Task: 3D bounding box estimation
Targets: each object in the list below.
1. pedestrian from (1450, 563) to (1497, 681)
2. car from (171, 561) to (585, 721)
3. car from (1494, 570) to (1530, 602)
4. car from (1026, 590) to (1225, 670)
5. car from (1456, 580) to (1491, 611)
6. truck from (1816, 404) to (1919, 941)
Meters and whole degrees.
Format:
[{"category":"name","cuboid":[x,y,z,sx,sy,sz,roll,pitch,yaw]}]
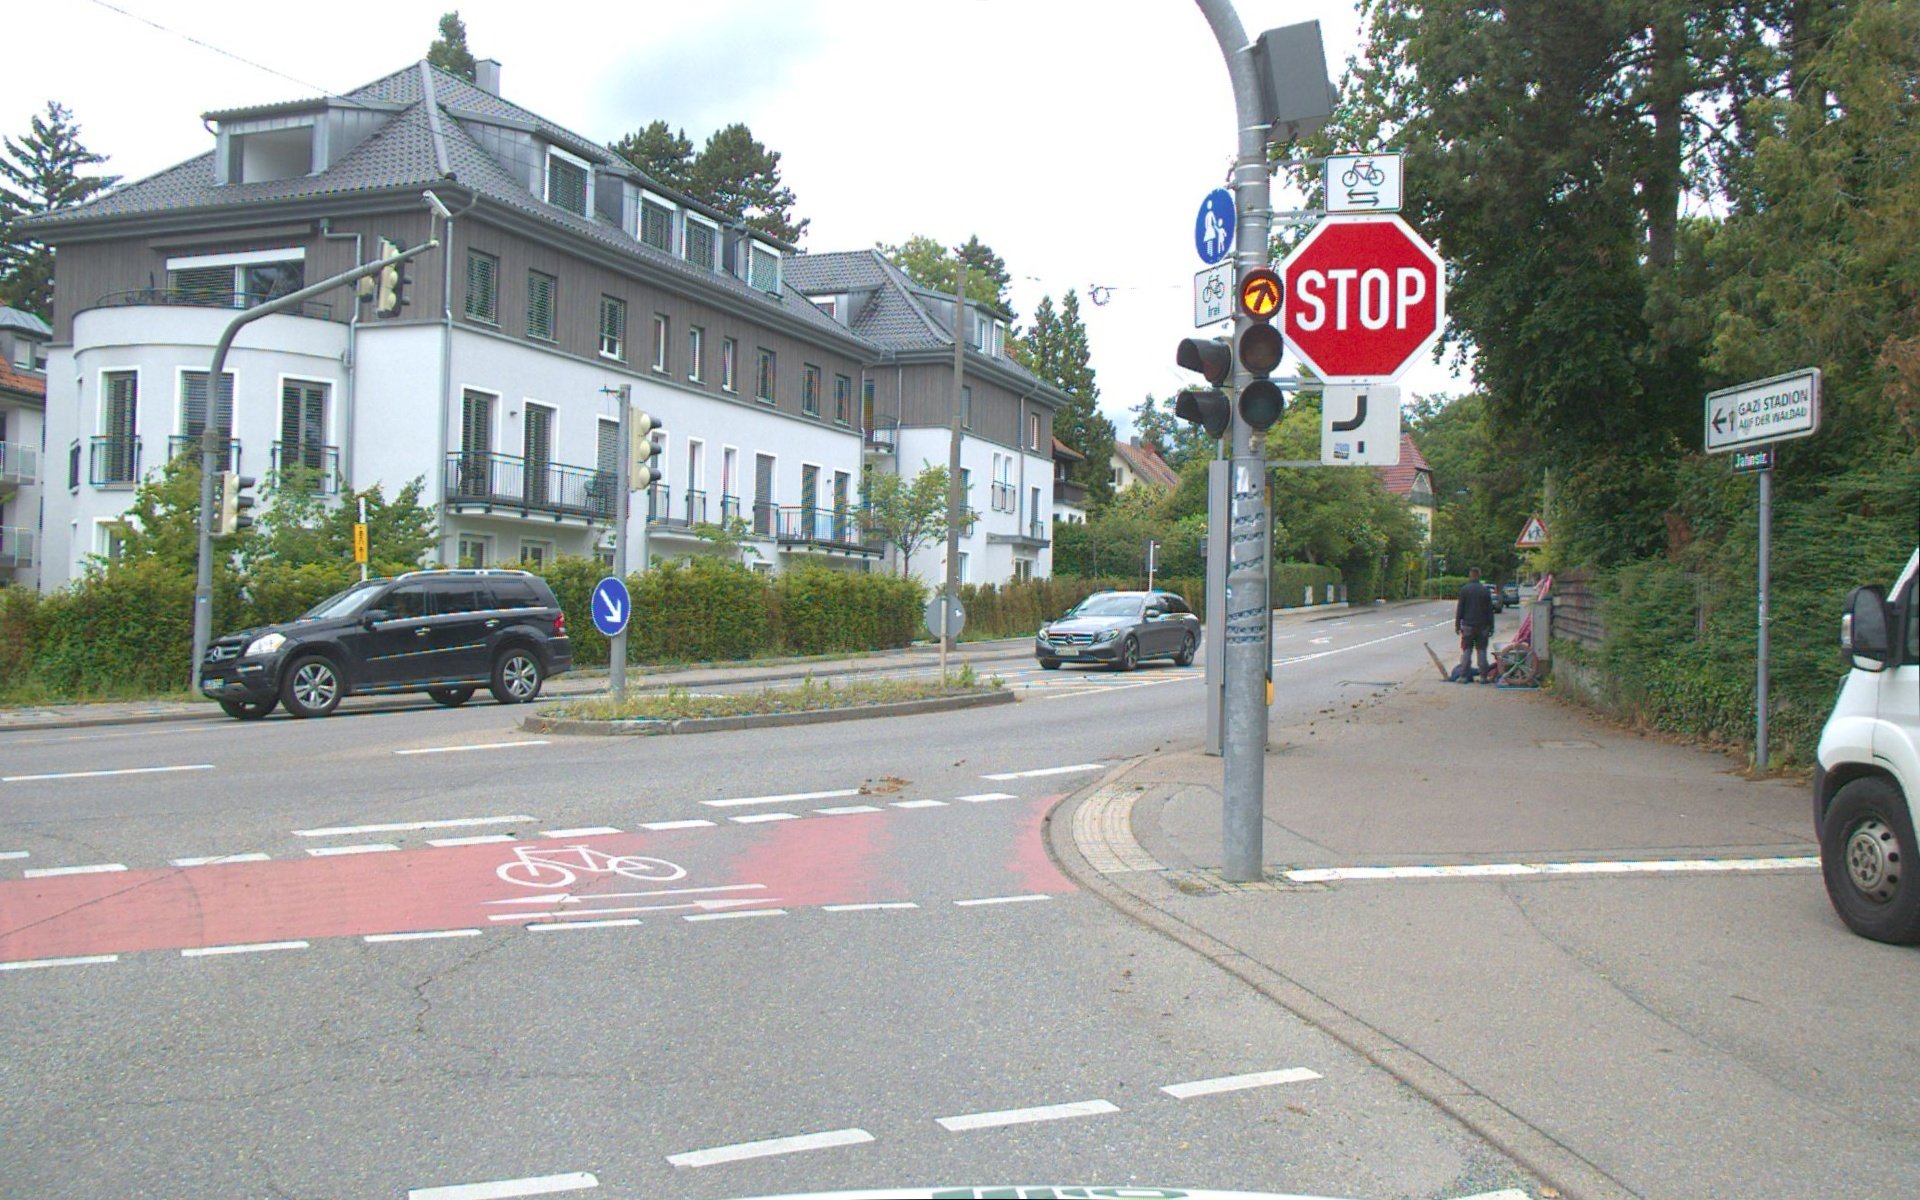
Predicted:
[{"category":"pedestrian","cuboid":[8.553,0.368,27.560,0.584,1.940,0.558,1,0,0]},{"category":"car","cuboid":[-7.717,0.504,22.442,1.881,1.913,5.119,-1,-1,38]},{"category":"car","cuboid":[36.504,-0.917,109.254,1.953,2.049,3.999,1,0,23]},{"category":"car","cuboid":[3.331,0.537,32.438,1.905,1.428,4.728,1,1,34]},{"category":"car","cuboid":[29.979,-0.277,96.492,1.770,1.784,4.488,-1,0,19]},{"category":"truck","cuboid":[5.129,0.323,5.027,2.162,2.283,5.724,1,0,1]}]
